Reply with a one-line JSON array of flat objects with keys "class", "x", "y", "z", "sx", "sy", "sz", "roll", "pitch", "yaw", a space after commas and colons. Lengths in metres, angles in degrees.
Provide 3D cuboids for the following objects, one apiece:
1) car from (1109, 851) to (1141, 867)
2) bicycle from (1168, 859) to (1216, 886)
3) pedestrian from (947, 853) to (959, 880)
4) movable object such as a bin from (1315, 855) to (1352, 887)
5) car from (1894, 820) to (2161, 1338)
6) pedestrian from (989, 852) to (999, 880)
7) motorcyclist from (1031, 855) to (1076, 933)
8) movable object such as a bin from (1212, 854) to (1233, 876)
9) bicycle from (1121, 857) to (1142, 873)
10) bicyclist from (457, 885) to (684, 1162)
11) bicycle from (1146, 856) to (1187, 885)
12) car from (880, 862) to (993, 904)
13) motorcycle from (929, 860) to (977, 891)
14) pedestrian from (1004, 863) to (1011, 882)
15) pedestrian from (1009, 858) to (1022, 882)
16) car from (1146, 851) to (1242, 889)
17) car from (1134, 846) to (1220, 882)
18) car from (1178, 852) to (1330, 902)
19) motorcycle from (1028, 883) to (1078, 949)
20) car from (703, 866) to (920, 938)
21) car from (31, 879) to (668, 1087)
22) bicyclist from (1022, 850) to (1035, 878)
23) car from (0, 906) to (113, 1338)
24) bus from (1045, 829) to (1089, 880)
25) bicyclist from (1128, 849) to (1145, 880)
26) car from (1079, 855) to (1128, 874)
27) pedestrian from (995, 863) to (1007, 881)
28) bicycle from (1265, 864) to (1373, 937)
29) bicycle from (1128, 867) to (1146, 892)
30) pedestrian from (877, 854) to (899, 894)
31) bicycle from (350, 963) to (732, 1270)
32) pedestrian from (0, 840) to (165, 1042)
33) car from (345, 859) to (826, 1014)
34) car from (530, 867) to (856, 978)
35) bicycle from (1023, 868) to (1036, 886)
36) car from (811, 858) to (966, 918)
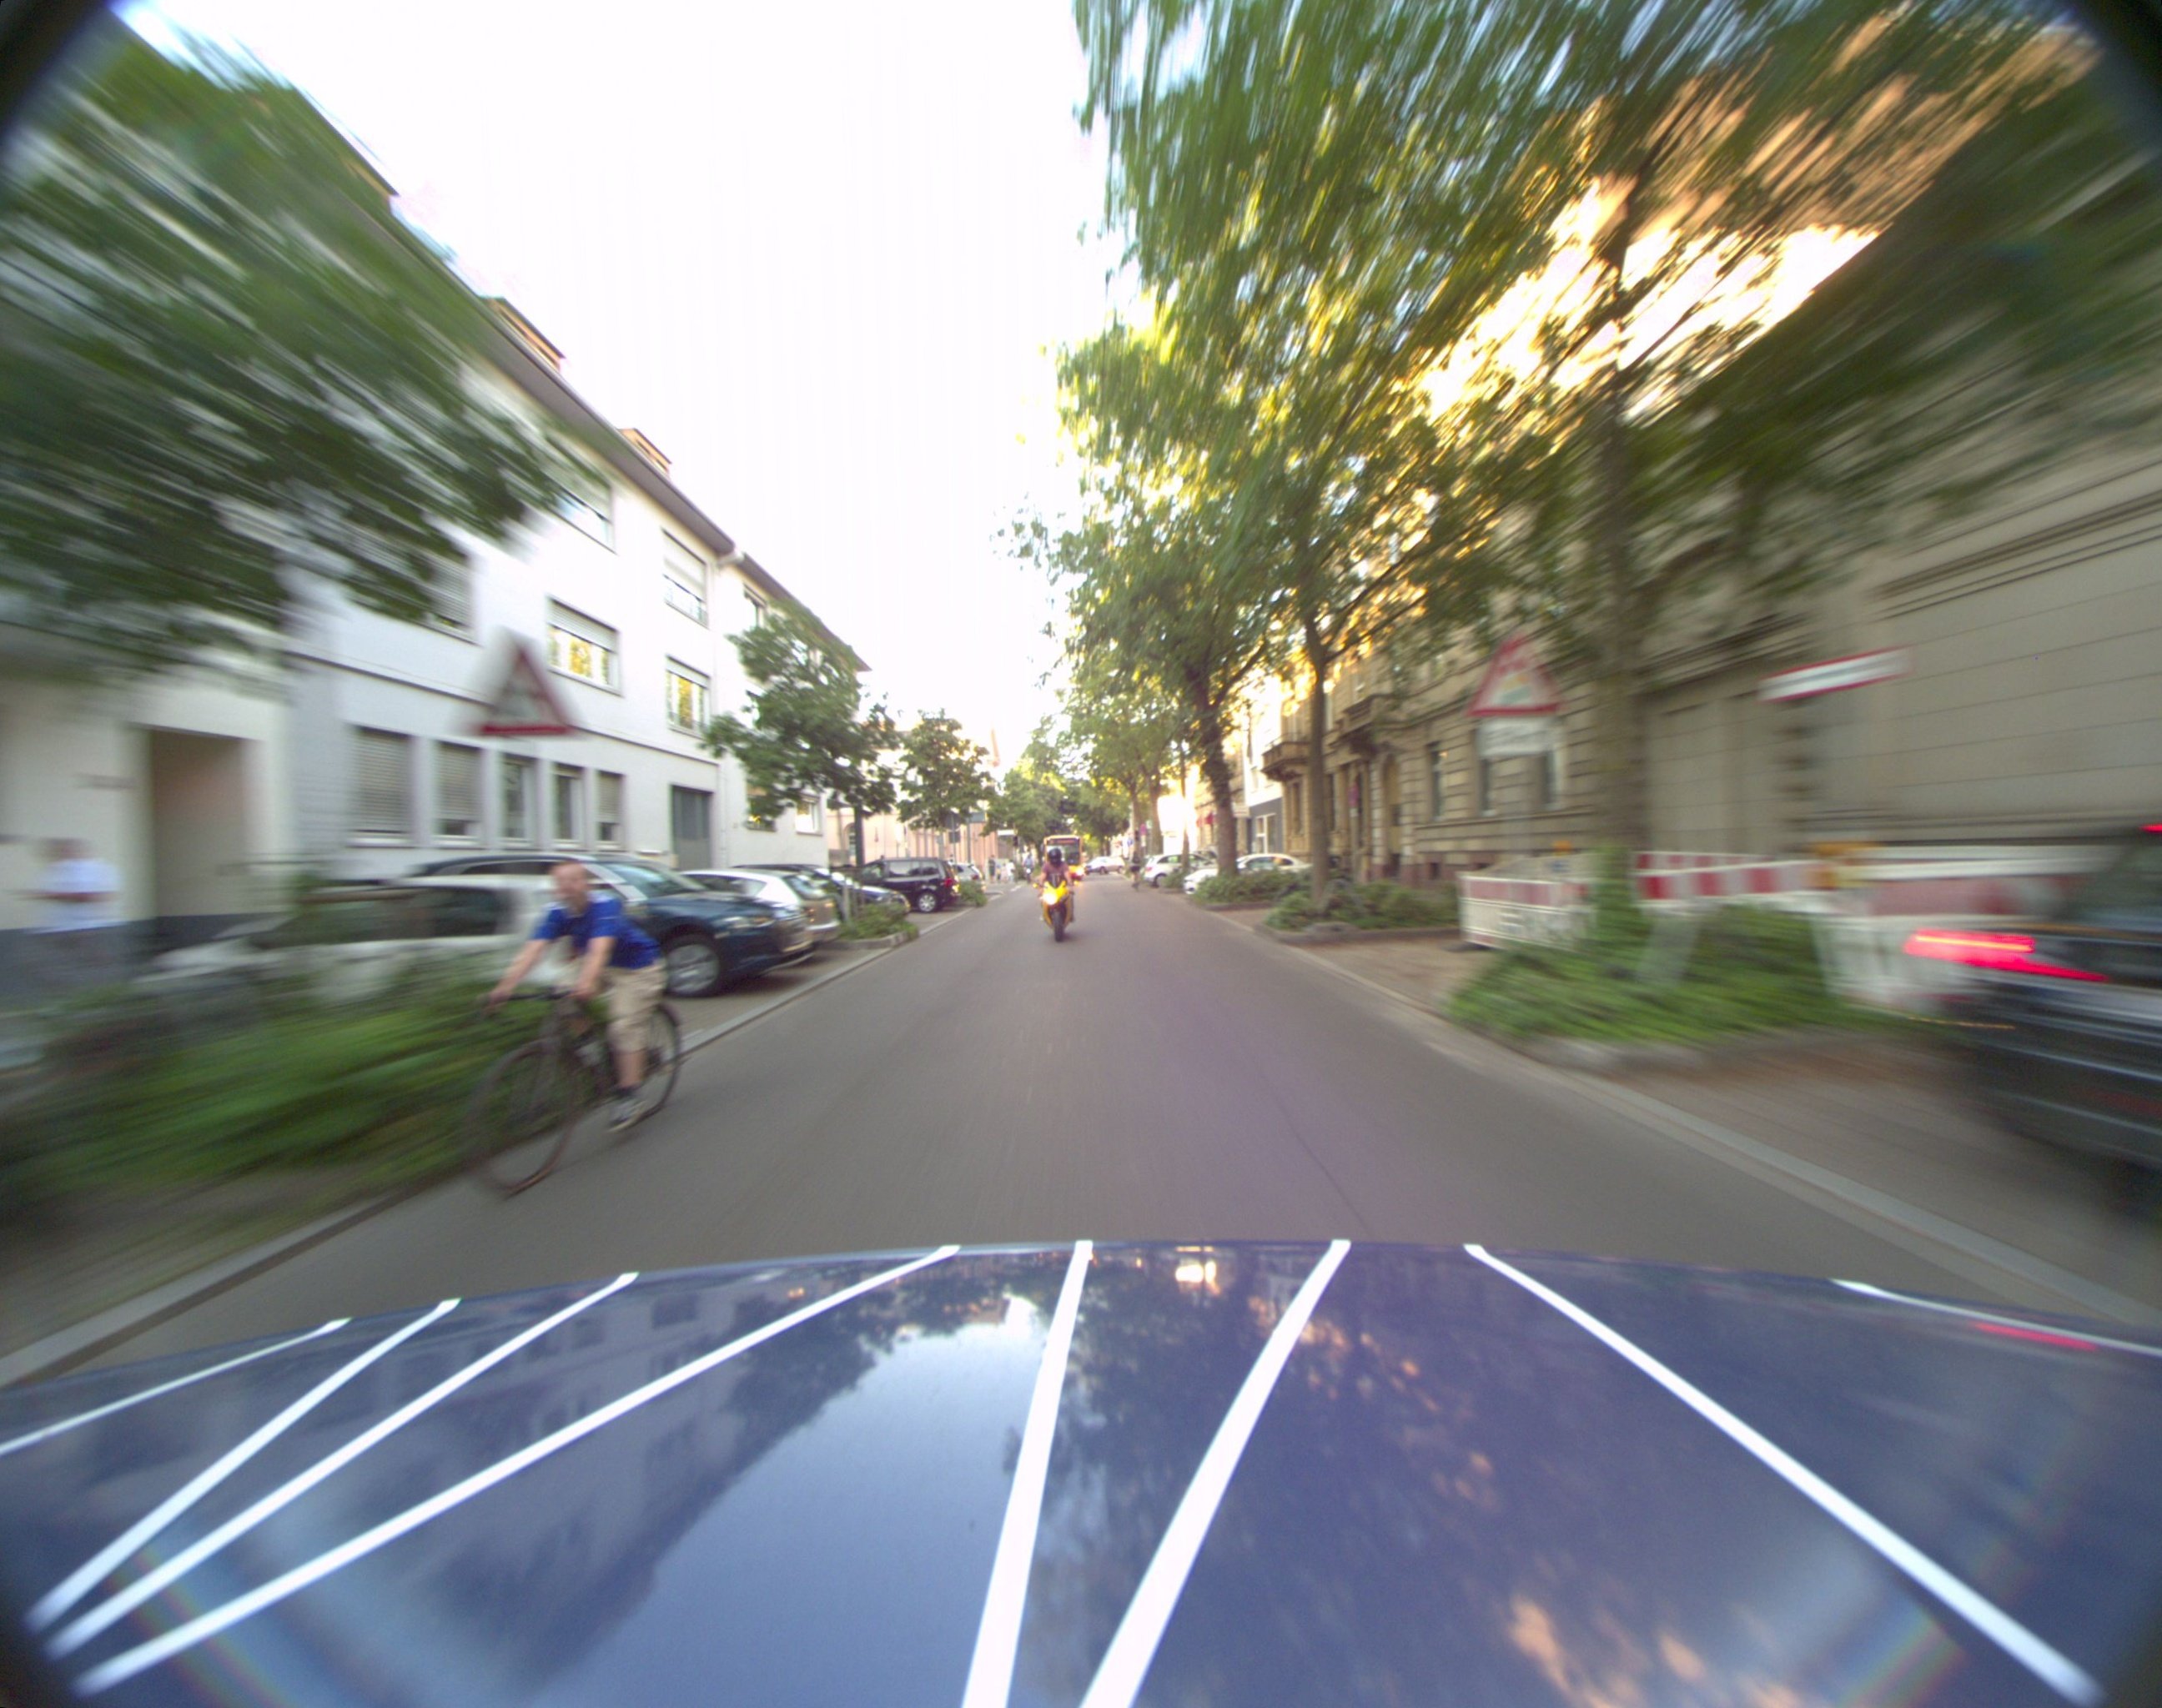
[{"class": "car", "x": 5.878, "y": 0.654, "z": 101.427, "sx": 4.000, "sy": 1.940, "sz": 1.999, "roll": -2, "pitch": 0, "yaw": -8}, {"class": "bicycle", "x": 4.438, "y": 0.739, "z": 30.504, "sx": 1.799, "sy": 1.003, "sz": 0.598, "roll": -3, "pitch": 1, "yaw": 1}, {"class": "pedestrian", "x": -8.849, "y": 0.841, "z": 52.612, "sx": 0.699, "sy": 1.844, "sz": 1.049, "roll": 0, "pitch": 0, "yaw": -2}, {"class": "movable object such as a bin", "x": 8.990, "y": 0.584, "z": 27.092, "sx": 0.802, "sy": 1.055, "sz": 1.317, "roll": -4, "pitch": 0, "yaw": -1}, {"class": "car", "x": 5.364, "y": 0.568, "z": 2.216, "sx": 3.975, "sy": 1.587, "sz": 1.780, "roll": -6, "pitch": 1, "yaw": 0}, {"class": "pedestrian", "x": -5.559, "y": 0.775, "z": 48.680, "sx": 0.544, "sy": 1.764, "sz": 0.576, "roll": 0, "pitch": 0, "yaw": 1}, {"class": "motorcyclist", "x": -0.500, "y": 0.735, "z": 14.301, "sx": 0.737, "sy": 1.404, "sz": 0.726, "roll": -2, "pitch": 0, "yaw": 2}, {"class": "movable object such as a bin", "x": 7.288, "y": 0.565, "z": 39.098, "sx": 0.776, "sy": 1.055, "sz": 1.317, "roll": -2, "pitch": 0, "yaw": -1}, {"class": "bicycle", "x": 4.261, "y": 0.932, "z": 64.002, "sx": 0.805, "sy": 1.217, "sz": 2.422, "roll": -6, "pitch": -3, "yaw": 24}, {"class": "bicyclist", "x": -2.823, "y": 0.888, "z": 4.289, "sx": 0.674, "sy": 1.355, "sz": 0.776, "roll": -3, "pitch": 0, "yaw": 0}, {"class": "bicycle", "x": 4.120, "y": 0.801, "z": 36.685, "sx": 1.799, "sy": 1.319, "sz": 0.773, "roll": -2, "pitch": 0, "yaw": -6}, {"class": "car", "x": -5.568, "y": 1.101, "z": 29.557, "sx": 3.997, "sy": 1.429, "sz": 1.794, "roll": -2, "pitch": 0, "yaw": 1}, {"class": "motorcycle", "x": -5.870, "y": 0.974, "z": 34.935, "sx": 1.910, "sy": 1.384, "sz": 1.000, "roll": -1, "pitch": 1, "yaw": 13}, {"class": "pedestrian", "x": -4.712, "y": 1.173, "z": 48.476, "sx": 0.451, "sy": 1.254, "sz": 0.490, "roll": 0, "pitch": 0, "yaw": -6}, {"class": "pedestrian", "x": -4.111, "y": 0.986, "z": 47.653, "sx": 0.600, "sy": 1.502, "sz": 0.719, "roll": 0, "pitch": 0, "yaw": -29}, {"class": "car", "x": 5.173, "y": 0.711, "z": 35.113, "sx": 4.180, "sy": 1.548, "sz": 1.827, "roll": -2, "pitch": 0, "yaw": 3}, {"class": "car", "x": 5.323, "y": 0.543, "z": 42.636, "sx": 4.436, "sy": 1.712, "sz": 1.890, "roll": -4, "pitch": 0, "yaw": -2}, {"class": "car", "x": 5.566, "y": 0.720, "z": 24.847, "sx": 4.524, "sy": 1.382, "sz": 1.916, "roll": -2, "pitch": 1, "yaw": 1}, {"class": "motorcycle", "x": -0.492, "y": 1.116, "z": 14.233, "sx": 0.737, "sy": 1.053, "sz": 1.964, "roll": -2, "pitch": 0, "yaw": 2}, {"class": "car", "x": -6.049, "y": 1.053, "z": 17.438, "sx": 4.326, "sy": 1.487, "sz": 1.794, "roll": 0, "pitch": 0, "yaw": -1}, {"class": "car", "x": -5.963, "y": 1.003, "z": 6.575, "sx": 3.802, "sy": 1.415, "sz": 1.697, "roll": 2, "pitch": 0, "yaw": -1}, {"class": "bicyclist", "x": -3.049, "y": 0.597, "z": 44.485, "sx": 0.637, "sy": 1.552, "sz": 0.818, "roll": -4, "pitch": 0, "yaw": -2}, {"class": "car", "x": -5.964, "y": 0.956, "z": 2.161, "sx": 3.975, "sy": 1.569, "sz": 1.851, "roll": 2, "pitch": 0, "yaw": -1}, {"class": "bus", "x": -0.933, "y": 0.049, "z": 55.477, "sx": 2.668, "sy": 3.176, "sz": 11.897, "roll": -3, "pitch": 0, "yaw": 0}, {"class": "bicyclist", "x": 2.317, "y": 0.449, "z": 31.829, "sx": 0.673, "sy": 1.256, "sz": 0.648, "roll": -1, "pitch": 0, "yaw": 3}, {"class": "car", "x": 2.093, "y": 0.915, "z": 68.680, "sx": 1.942, "sy": 1.561, "sz": 4.368, "roll": 0, "pitch": 1, "yaw": 44}, {"class": "pedestrian", "x": -5.151, "y": 1.161, "z": 48.963, "sx": 0.491, "sy": 1.138, "sz": 0.547, "roll": 1, "pitch": 0, "yaw": 37}, {"class": "bicycle", "x": 4.287, "y": 0.838, "z": 13.746, "sx": 1.775, "sy": 1.225, "sz": 0.500, "roll": -2, "pitch": 2, "yaw": 5}, {"class": "bicycle", "x": 2.334, "y": 1.047, "z": 31.825, "sx": 0.673, "sy": 0.988, "sz": 1.759, "roll": -1, "pitch": 0, "yaw": 3}, {"class": "pedestrian", "x": -8.902, "y": 0.903, "z": 35.095, "sx": 0.699, "sy": 1.785, "sz": 1.065, "roll": -1, "pitch": 0, "yaw": 1}, {"class": "bicycle", "x": -2.795, "y": 1.282, "z": 4.284, "sx": 0.674, "sy": 1.024, "sz": 1.977, "roll": -3, "pitch": 0, "yaw": 0}, {"class": "pedestrian", "x": -9.579, "y": 0.777, "z": 7.191, "sx": 0.699, "sy": 1.785, "sz": 0.881, "roll": -1, "pitch": 0, "yaw": 1}, {"class": "car", "x": -5.785, "y": 0.925, "z": 9.359, "sx": 4.602, "sy": 1.569, "sz": 1.944, "roll": 2, "pitch": 0, "yaw": -1}, {"class": "car", "x": -5.828, "y": 0.995, "z": 11.747, "sx": 4.084, "sy": 1.421, "sz": 1.818, "roll": 2, "pitch": 0, "yaw": 2}, {"class": "bicycle", "x": -3.000, "y": 1.323, "z": 44.453, "sx": 0.637, "sy": 0.977, "sz": 1.981, "roll": -4, "pitch": 0, "yaw": -2}, {"class": "car", "x": -5.714, "y": 0.988, "z": 22.943, "sx": 4.120, "sy": 1.608, "sz": 1.961, "roll": -2, "pitch": 0, "yaw": 1}]
